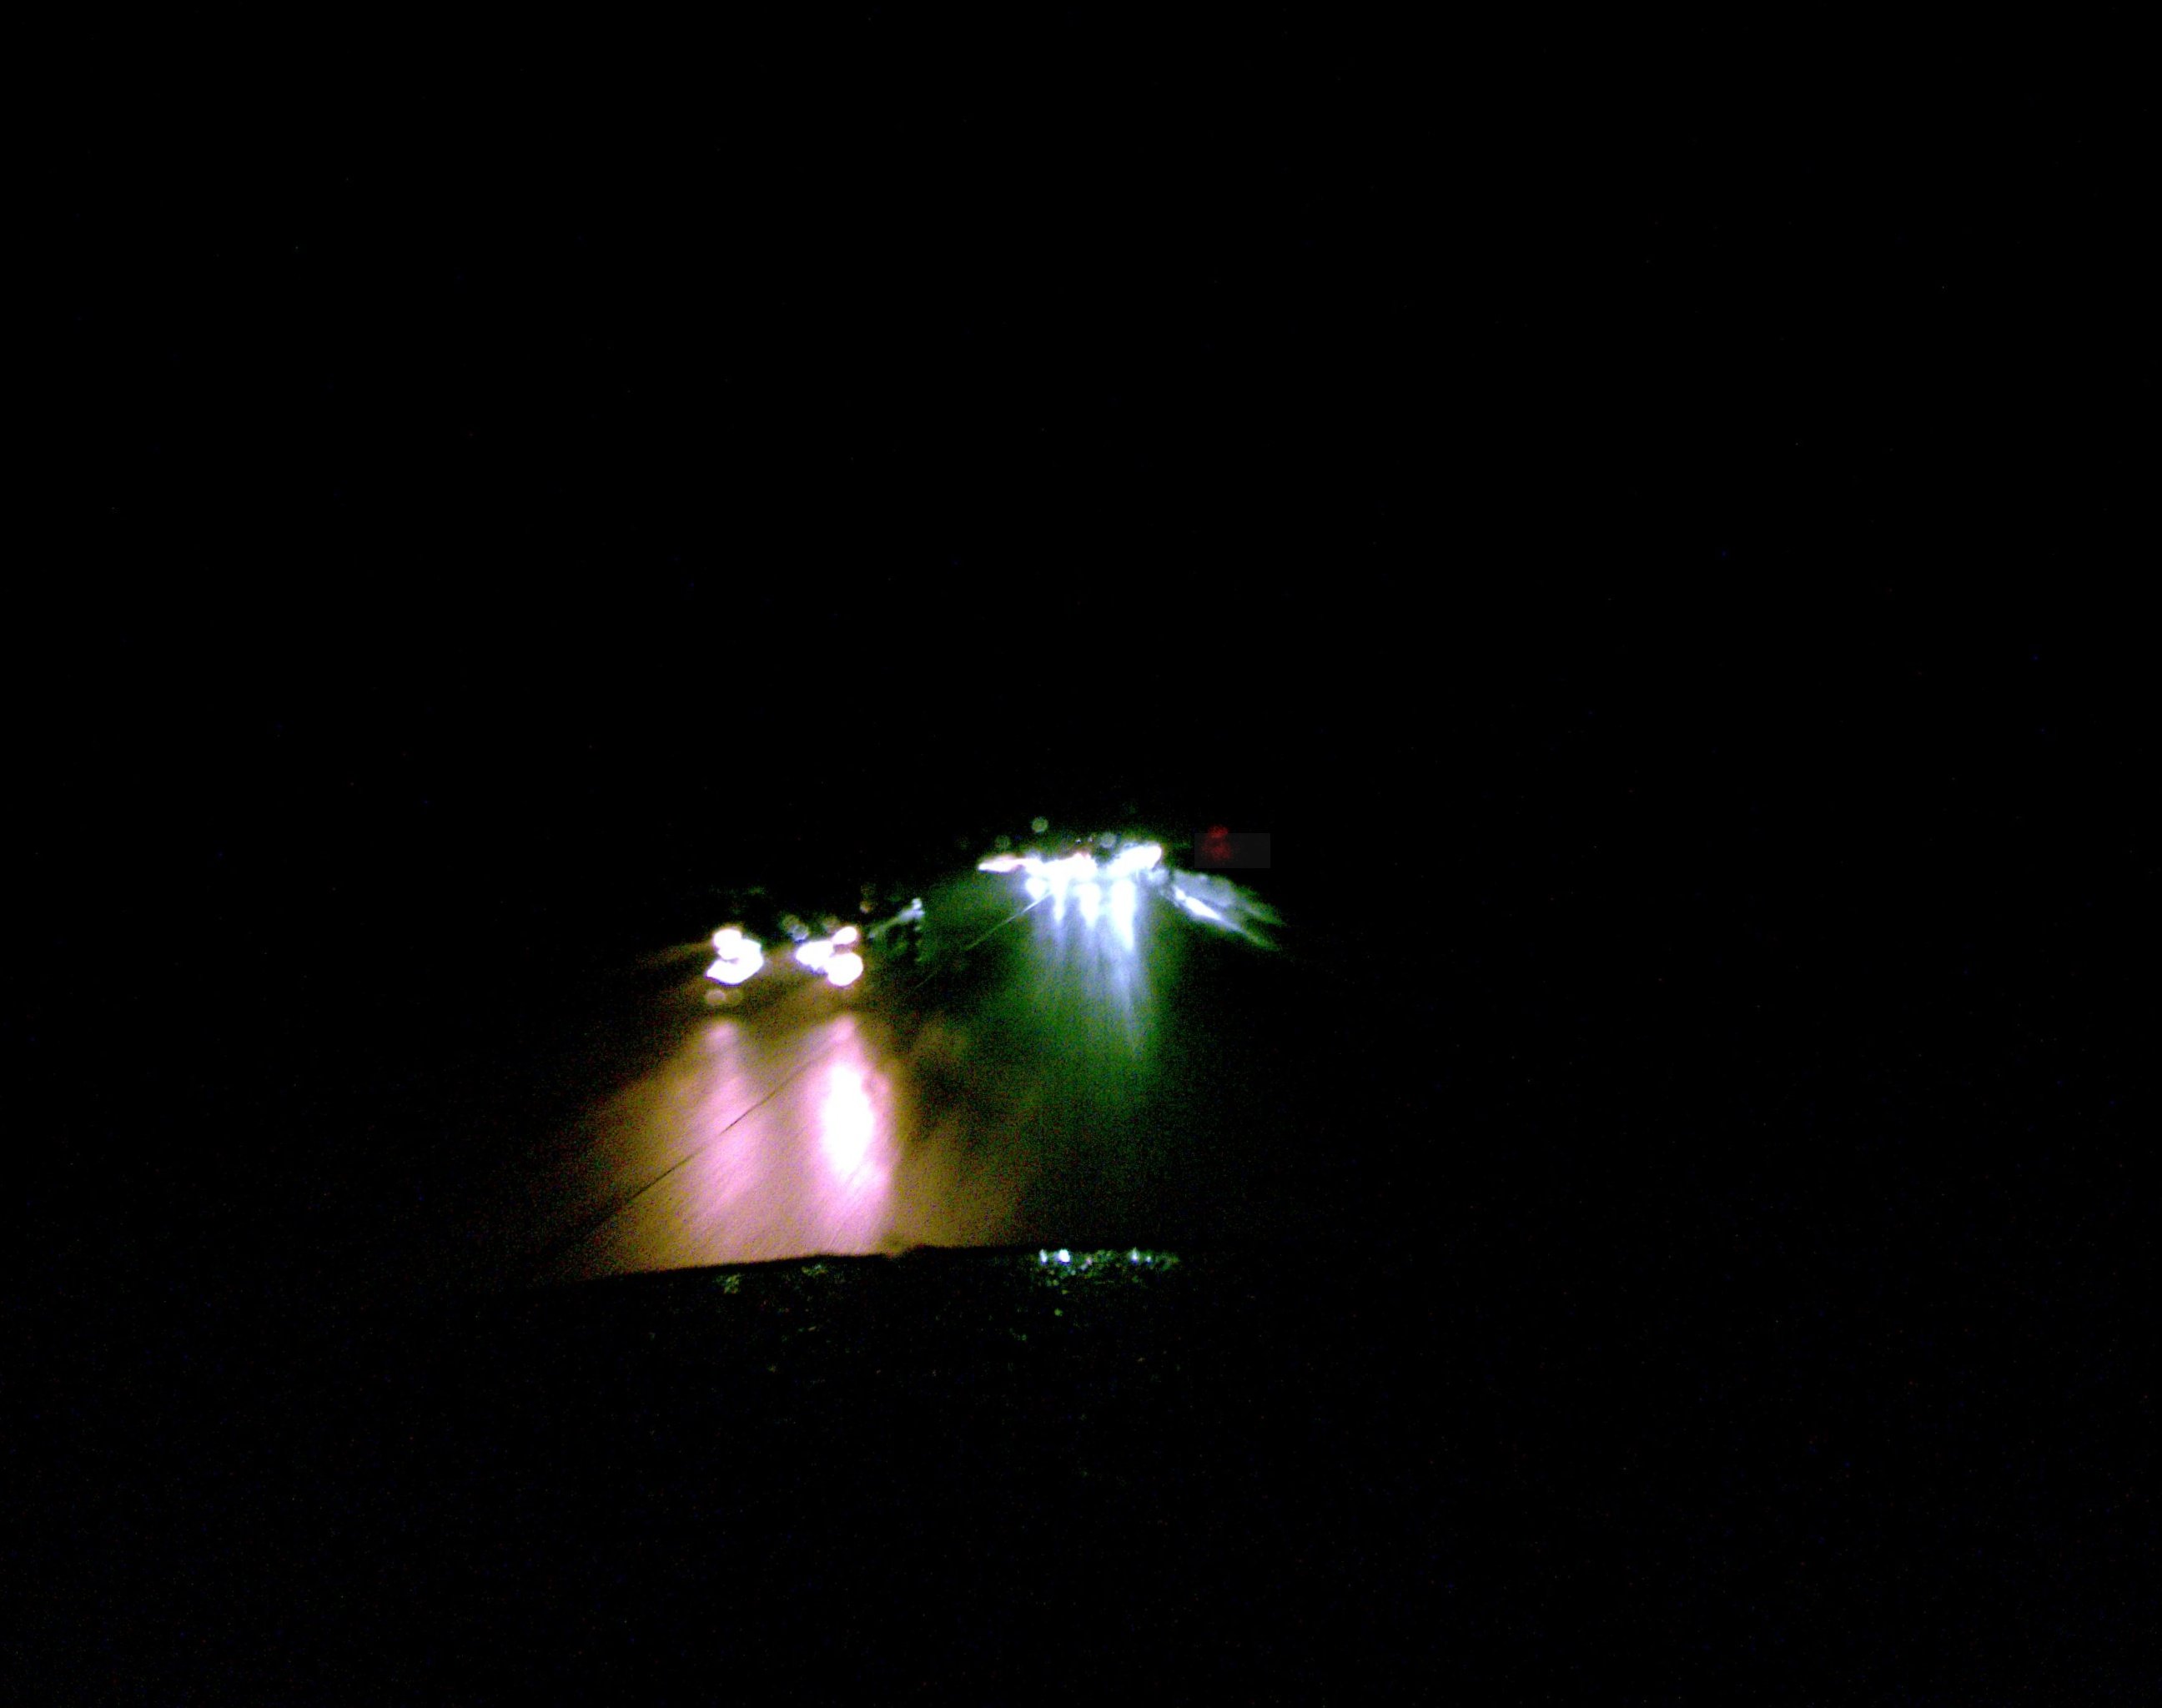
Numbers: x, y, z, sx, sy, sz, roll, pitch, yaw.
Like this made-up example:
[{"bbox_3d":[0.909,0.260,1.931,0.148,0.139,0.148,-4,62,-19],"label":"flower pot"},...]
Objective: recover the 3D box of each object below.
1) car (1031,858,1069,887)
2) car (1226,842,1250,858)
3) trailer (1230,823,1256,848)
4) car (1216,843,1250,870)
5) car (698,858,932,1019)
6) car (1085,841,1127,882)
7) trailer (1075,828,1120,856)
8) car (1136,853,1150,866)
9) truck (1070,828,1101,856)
[{"bbox_3d":[-1.938,1.189,48.655,1.847,1.614,3.680,-6,-1,4],"label":"car"},{"bbox_3d":[18.255,-0.463,88.656,1.998,1.654,4.001,-7,-1,3],"label":"car"},{"bbox_3d":[28.020,-3.070,131.496,2.934,3.726,9.505,-7,-1,5],"label":"trailer"},{"bbox_3d":[12.700,0.238,63.801,1.998,2.001,5.190,-7,-1,4],"label":"car"},{"bbox_3d":[-3.254,0.906,10.253,1.805,1.608,4.255,-3,0,-4],"label":"car"},{"bbox_3d":[1.413,0.447,41.972,1.998,2.001,4.001,-5,-1,3],"label":"car"},{"bbox_3d":[2.849,-1.986,121.888,2.743,3.954,13.836,-7,-1,18],"label":"trailer"},{"bbox_3d":[10.273,0.936,125.861,1.998,1.802,4.002,-7,-1,6],"label":"car"},{"bbox_3d":[0.757,-1.893,116.824,2.779,3.945,5.204,-7,-1,18],"label":"truck"}]
